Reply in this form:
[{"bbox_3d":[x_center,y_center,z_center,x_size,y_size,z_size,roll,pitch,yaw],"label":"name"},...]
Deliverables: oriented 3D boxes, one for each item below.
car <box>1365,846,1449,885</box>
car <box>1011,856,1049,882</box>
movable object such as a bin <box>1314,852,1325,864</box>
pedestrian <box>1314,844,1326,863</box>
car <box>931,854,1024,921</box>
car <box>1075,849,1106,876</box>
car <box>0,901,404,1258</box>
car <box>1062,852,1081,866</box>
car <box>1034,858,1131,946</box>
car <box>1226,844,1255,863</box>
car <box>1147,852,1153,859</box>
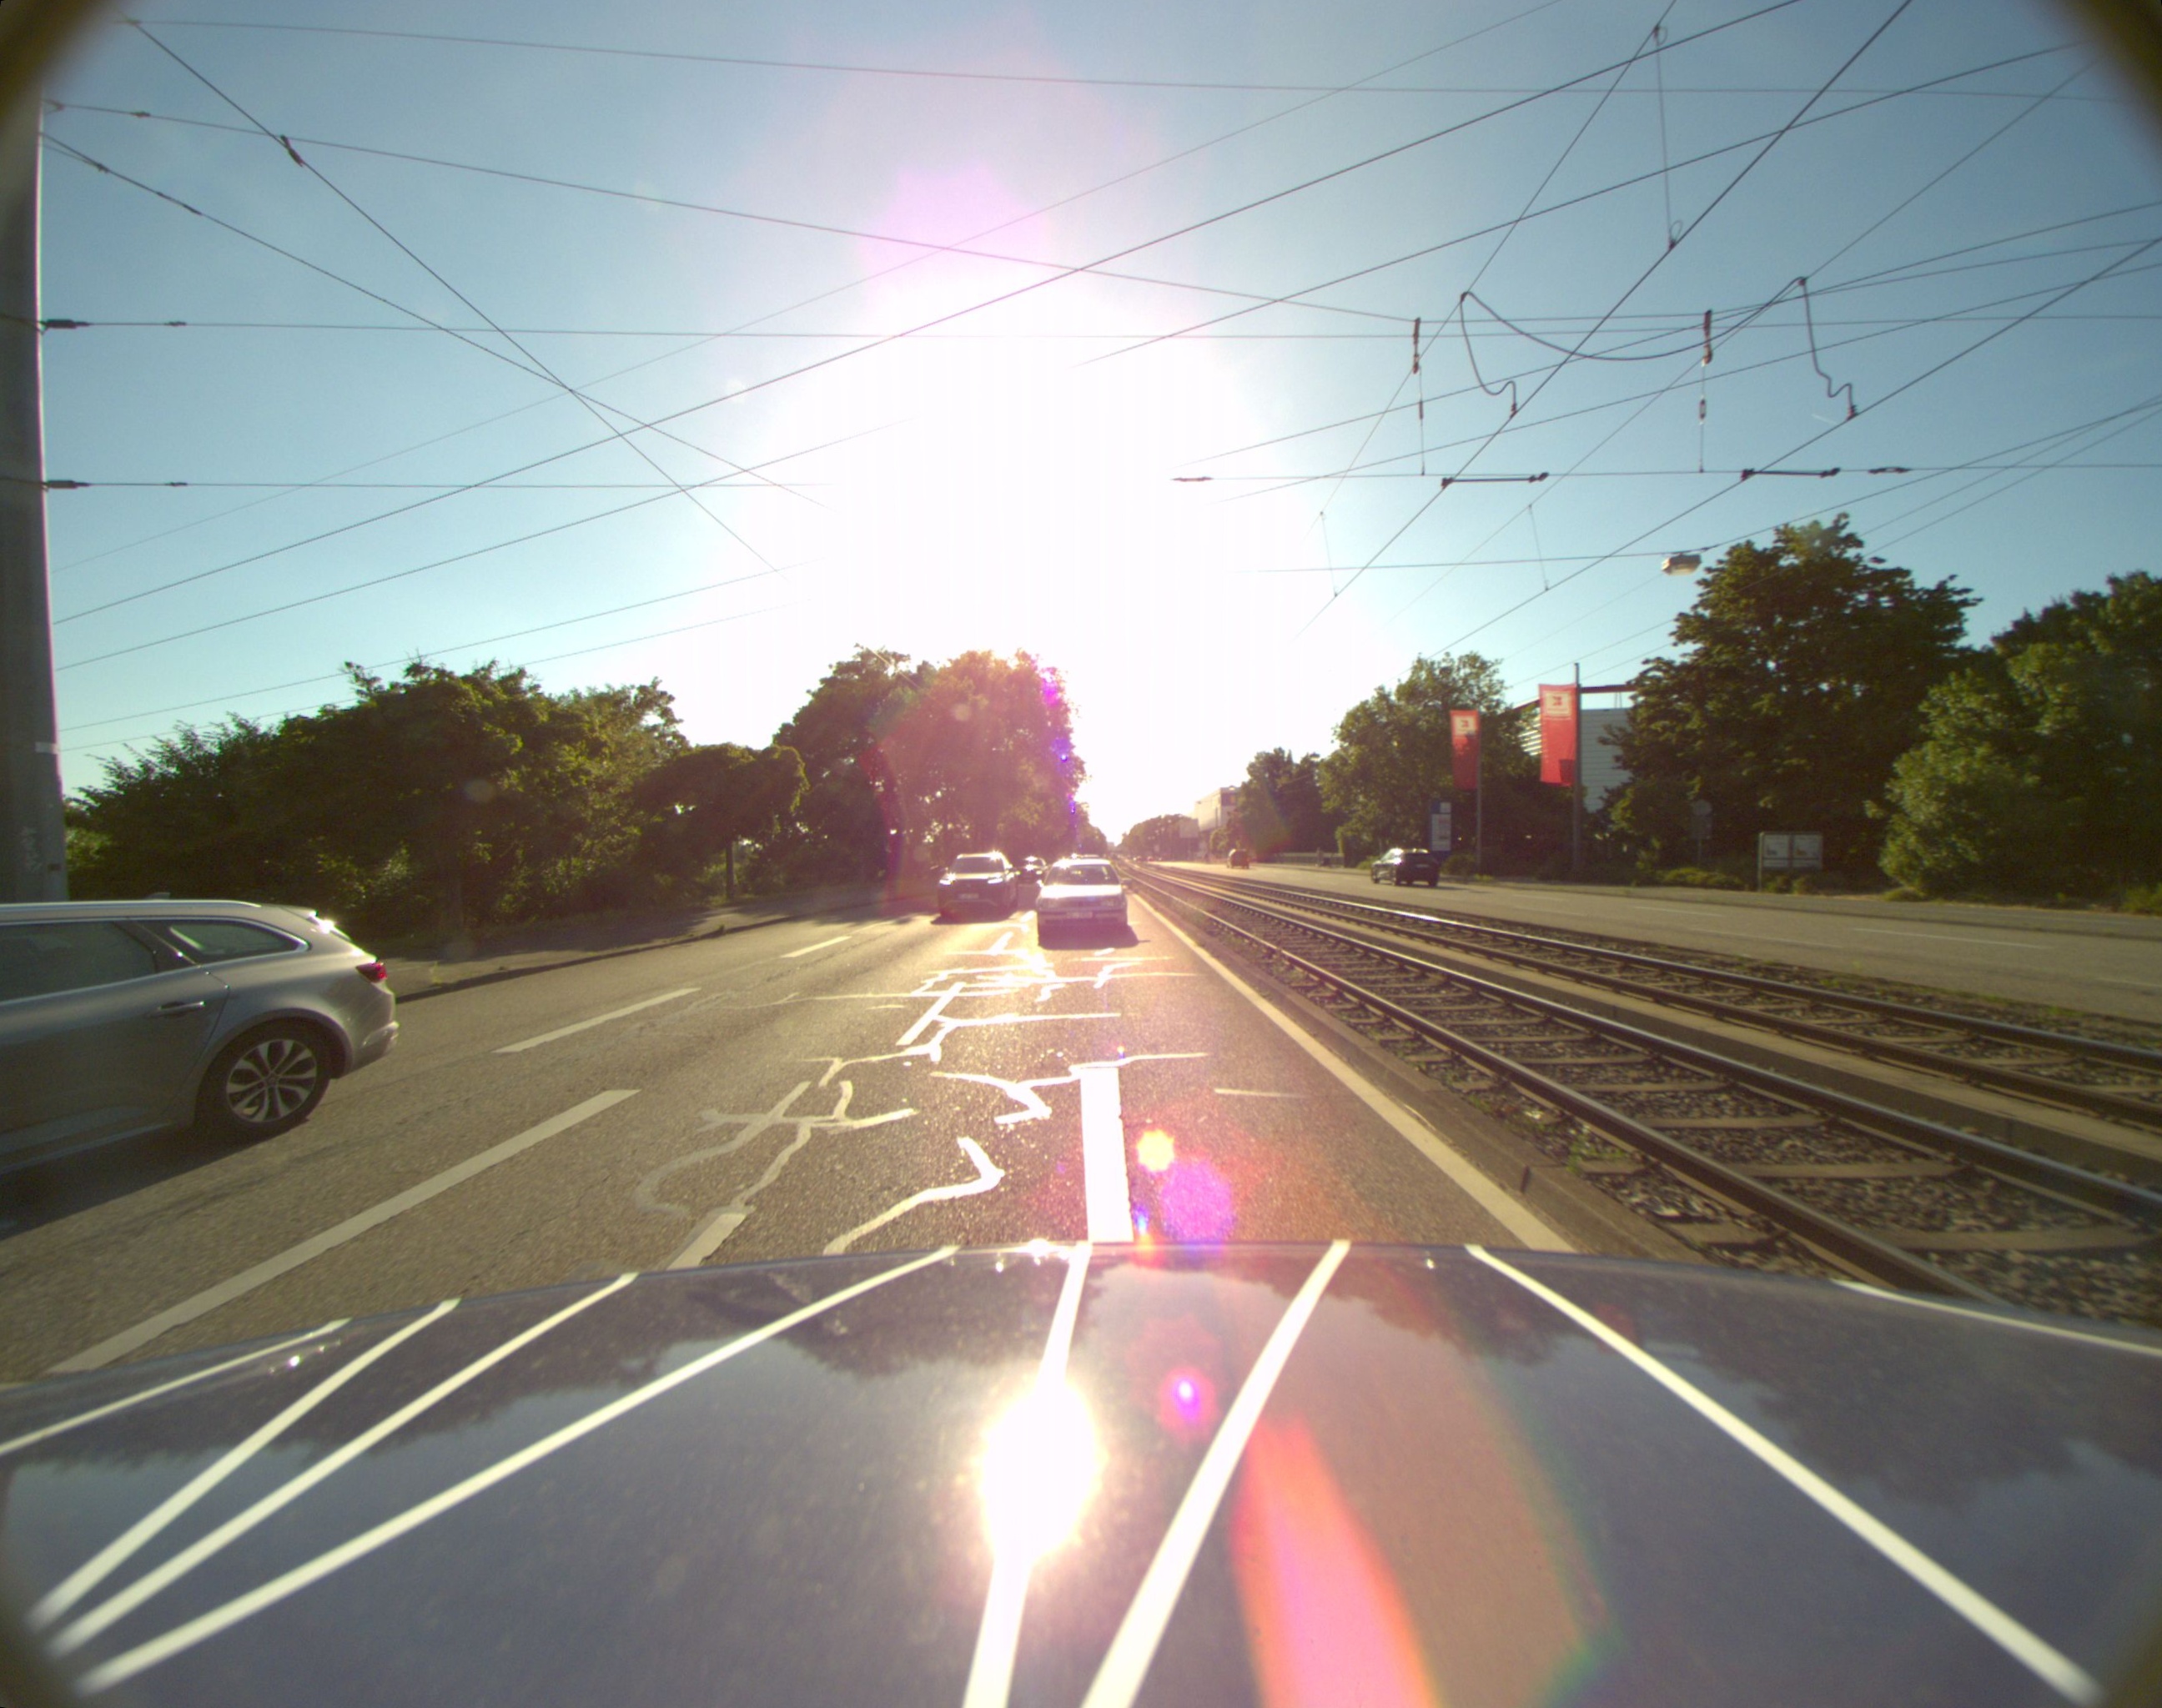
[{"bbox_3d":[14.916,0.478,35.105,1.998,1.616,4.683,0,1,2],"label":"car"},{"bbox_3d":[-2.972,0.863,45.328,1.874,1.405,4.001,-2,1,1],"label":"car"},{"bbox_3d":[21.080,0.349,67.182,0.614,0.960,1.083,-3,1,1],"label":"movable object such as a bin"},{"bbox_3d":[21.050,-0.053,66.917,0.614,1.638,1.083,-3,1,1],"label":"pedestrian"},{"bbox_3d":[-2.808,0.856,21.629,1.881,1.591,4.416,-2,1,2],"label":"car"},{"bbox_3d":[0.665,0.505,48.809,1.881,1.591,4.416,-2,1,2],"label":"car"},{"bbox_3d":[-5.765,1.105,2.958,1.881,1.435,4.660,-1,1,3],"label":"car"},{"bbox_3d":[-0.997,0.504,84.322,1.881,1.449,4.416,-2,1,2],"label":"car"},{"bbox_3d":[0.075,0.878,15.618,1.695,1.437,4.001,-2,1,1],"label":"car"},{"bbox_3d":[15.838,-0.061,75.627,1.998,1.785,4.349,0,1,1],"label":"car"},{"bbox_3d":[23.348,0.517,256.508,1.997,2.281,4.002,-3,0,7],"label":"car"}]
